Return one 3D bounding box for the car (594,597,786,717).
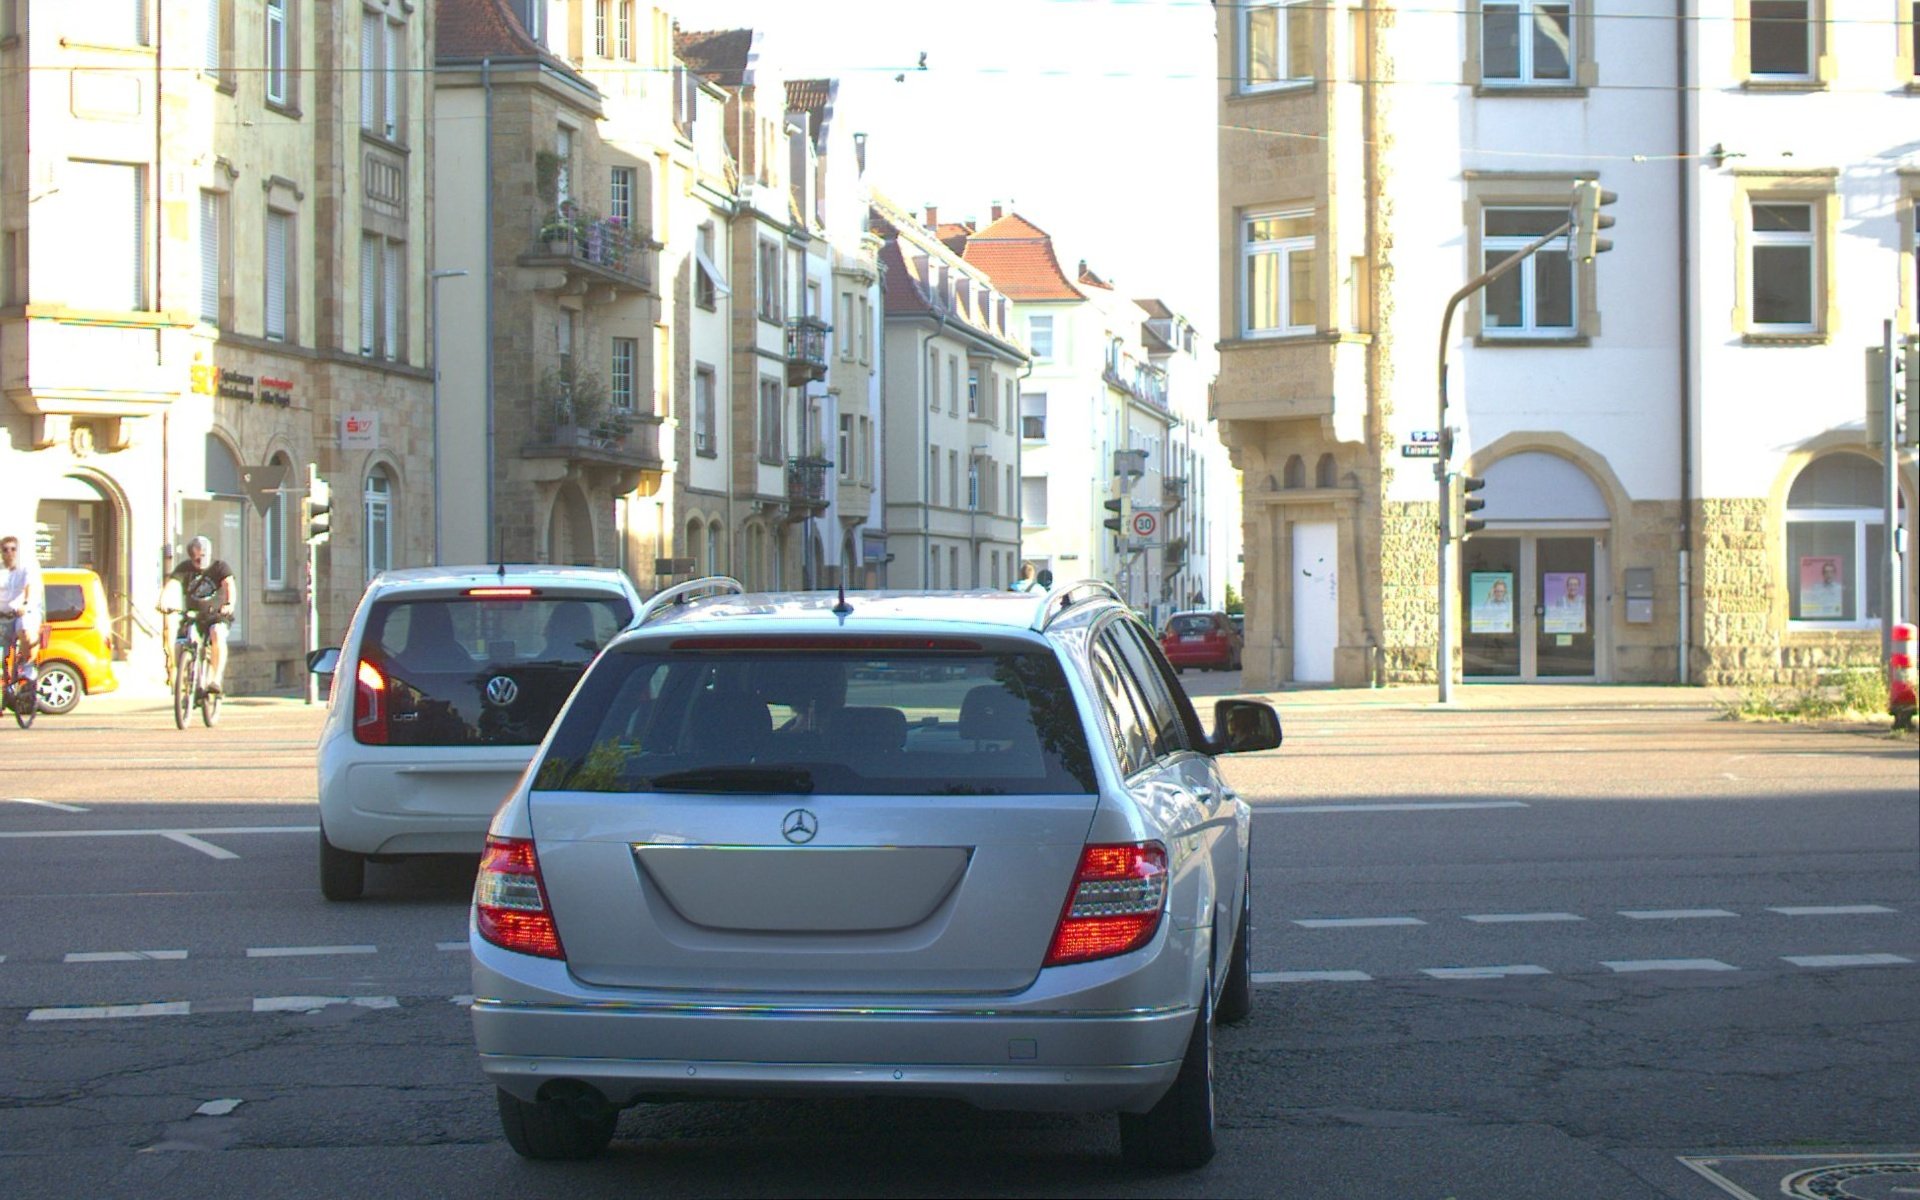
[{"bbox_3d":[-4.016,0.829,51.819,1.831,1.700,3.998,1,0,12],"label":"car"}]

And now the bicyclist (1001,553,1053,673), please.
[{"bbox_3d":[0.835,0.159,43.121,0.610,1.489,0.767,1,0,-1],"label":"bicyclist"}]

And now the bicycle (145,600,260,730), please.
[{"bbox_3d":[-7.000,0.583,31.833,0.650,1.101,1.925,1,2,-1],"label":"bicycle"}]

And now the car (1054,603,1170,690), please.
[{"bbox_3d":[2.967,0.868,66.529,1.830,1.610,3.999,1,0,8],"label":"car"}]

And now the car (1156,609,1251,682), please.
[{"bbox_3d":[5.858,1.067,82.443,1.831,1.700,3.998,1,0,10],"label":"car"}]

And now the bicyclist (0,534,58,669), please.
[{"bbox_3d":[-8.769,0.011,31.750,0.658,1.232,0.767,1,0,-1],"label":"bicyclist"}]

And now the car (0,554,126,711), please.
[{"bbox_3d":[-12.641,0.380,42.159,4.295,1.893,1.921,1,0,-31],"label":"car"}]

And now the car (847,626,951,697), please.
[{"bbox_3d":[-1.434,1.453,82.867,1.830,1.610,3.998,1,0,9],"label":"car"}]

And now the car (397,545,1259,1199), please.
[{"bbox_3d":[-0.114,0.629,9.412,1.732,1.472,4.171,1,0,6],"label":"car"}]

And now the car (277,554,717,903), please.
[{"bbox_3d":[-2.110,0.548,16.604,1.732,1.475,3.815,1,0,-2],"label":"car"}]

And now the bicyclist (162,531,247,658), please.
[{"bbox_3d":[-6.997,-0.048,31.860,0.610,1.154,0.767,1,0,-1],"label":"bicyclist"}]

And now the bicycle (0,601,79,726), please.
[{"bbox_3d":[-8.767,0.560,31.696,0.650,1.101,2.552,1,0,-1],"label":"bicycle"}]

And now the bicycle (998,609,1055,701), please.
[{"bbox_3d":[0.825,0.672,43.209,0.619,1.101,2.552,1,0,-1],"label":"bicycle"}]

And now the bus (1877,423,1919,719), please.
[{"bbox_3d":[15.819,-0.271,39.068,9.865,3.362,3.276,1,0,-3],"label":"bus"}]
